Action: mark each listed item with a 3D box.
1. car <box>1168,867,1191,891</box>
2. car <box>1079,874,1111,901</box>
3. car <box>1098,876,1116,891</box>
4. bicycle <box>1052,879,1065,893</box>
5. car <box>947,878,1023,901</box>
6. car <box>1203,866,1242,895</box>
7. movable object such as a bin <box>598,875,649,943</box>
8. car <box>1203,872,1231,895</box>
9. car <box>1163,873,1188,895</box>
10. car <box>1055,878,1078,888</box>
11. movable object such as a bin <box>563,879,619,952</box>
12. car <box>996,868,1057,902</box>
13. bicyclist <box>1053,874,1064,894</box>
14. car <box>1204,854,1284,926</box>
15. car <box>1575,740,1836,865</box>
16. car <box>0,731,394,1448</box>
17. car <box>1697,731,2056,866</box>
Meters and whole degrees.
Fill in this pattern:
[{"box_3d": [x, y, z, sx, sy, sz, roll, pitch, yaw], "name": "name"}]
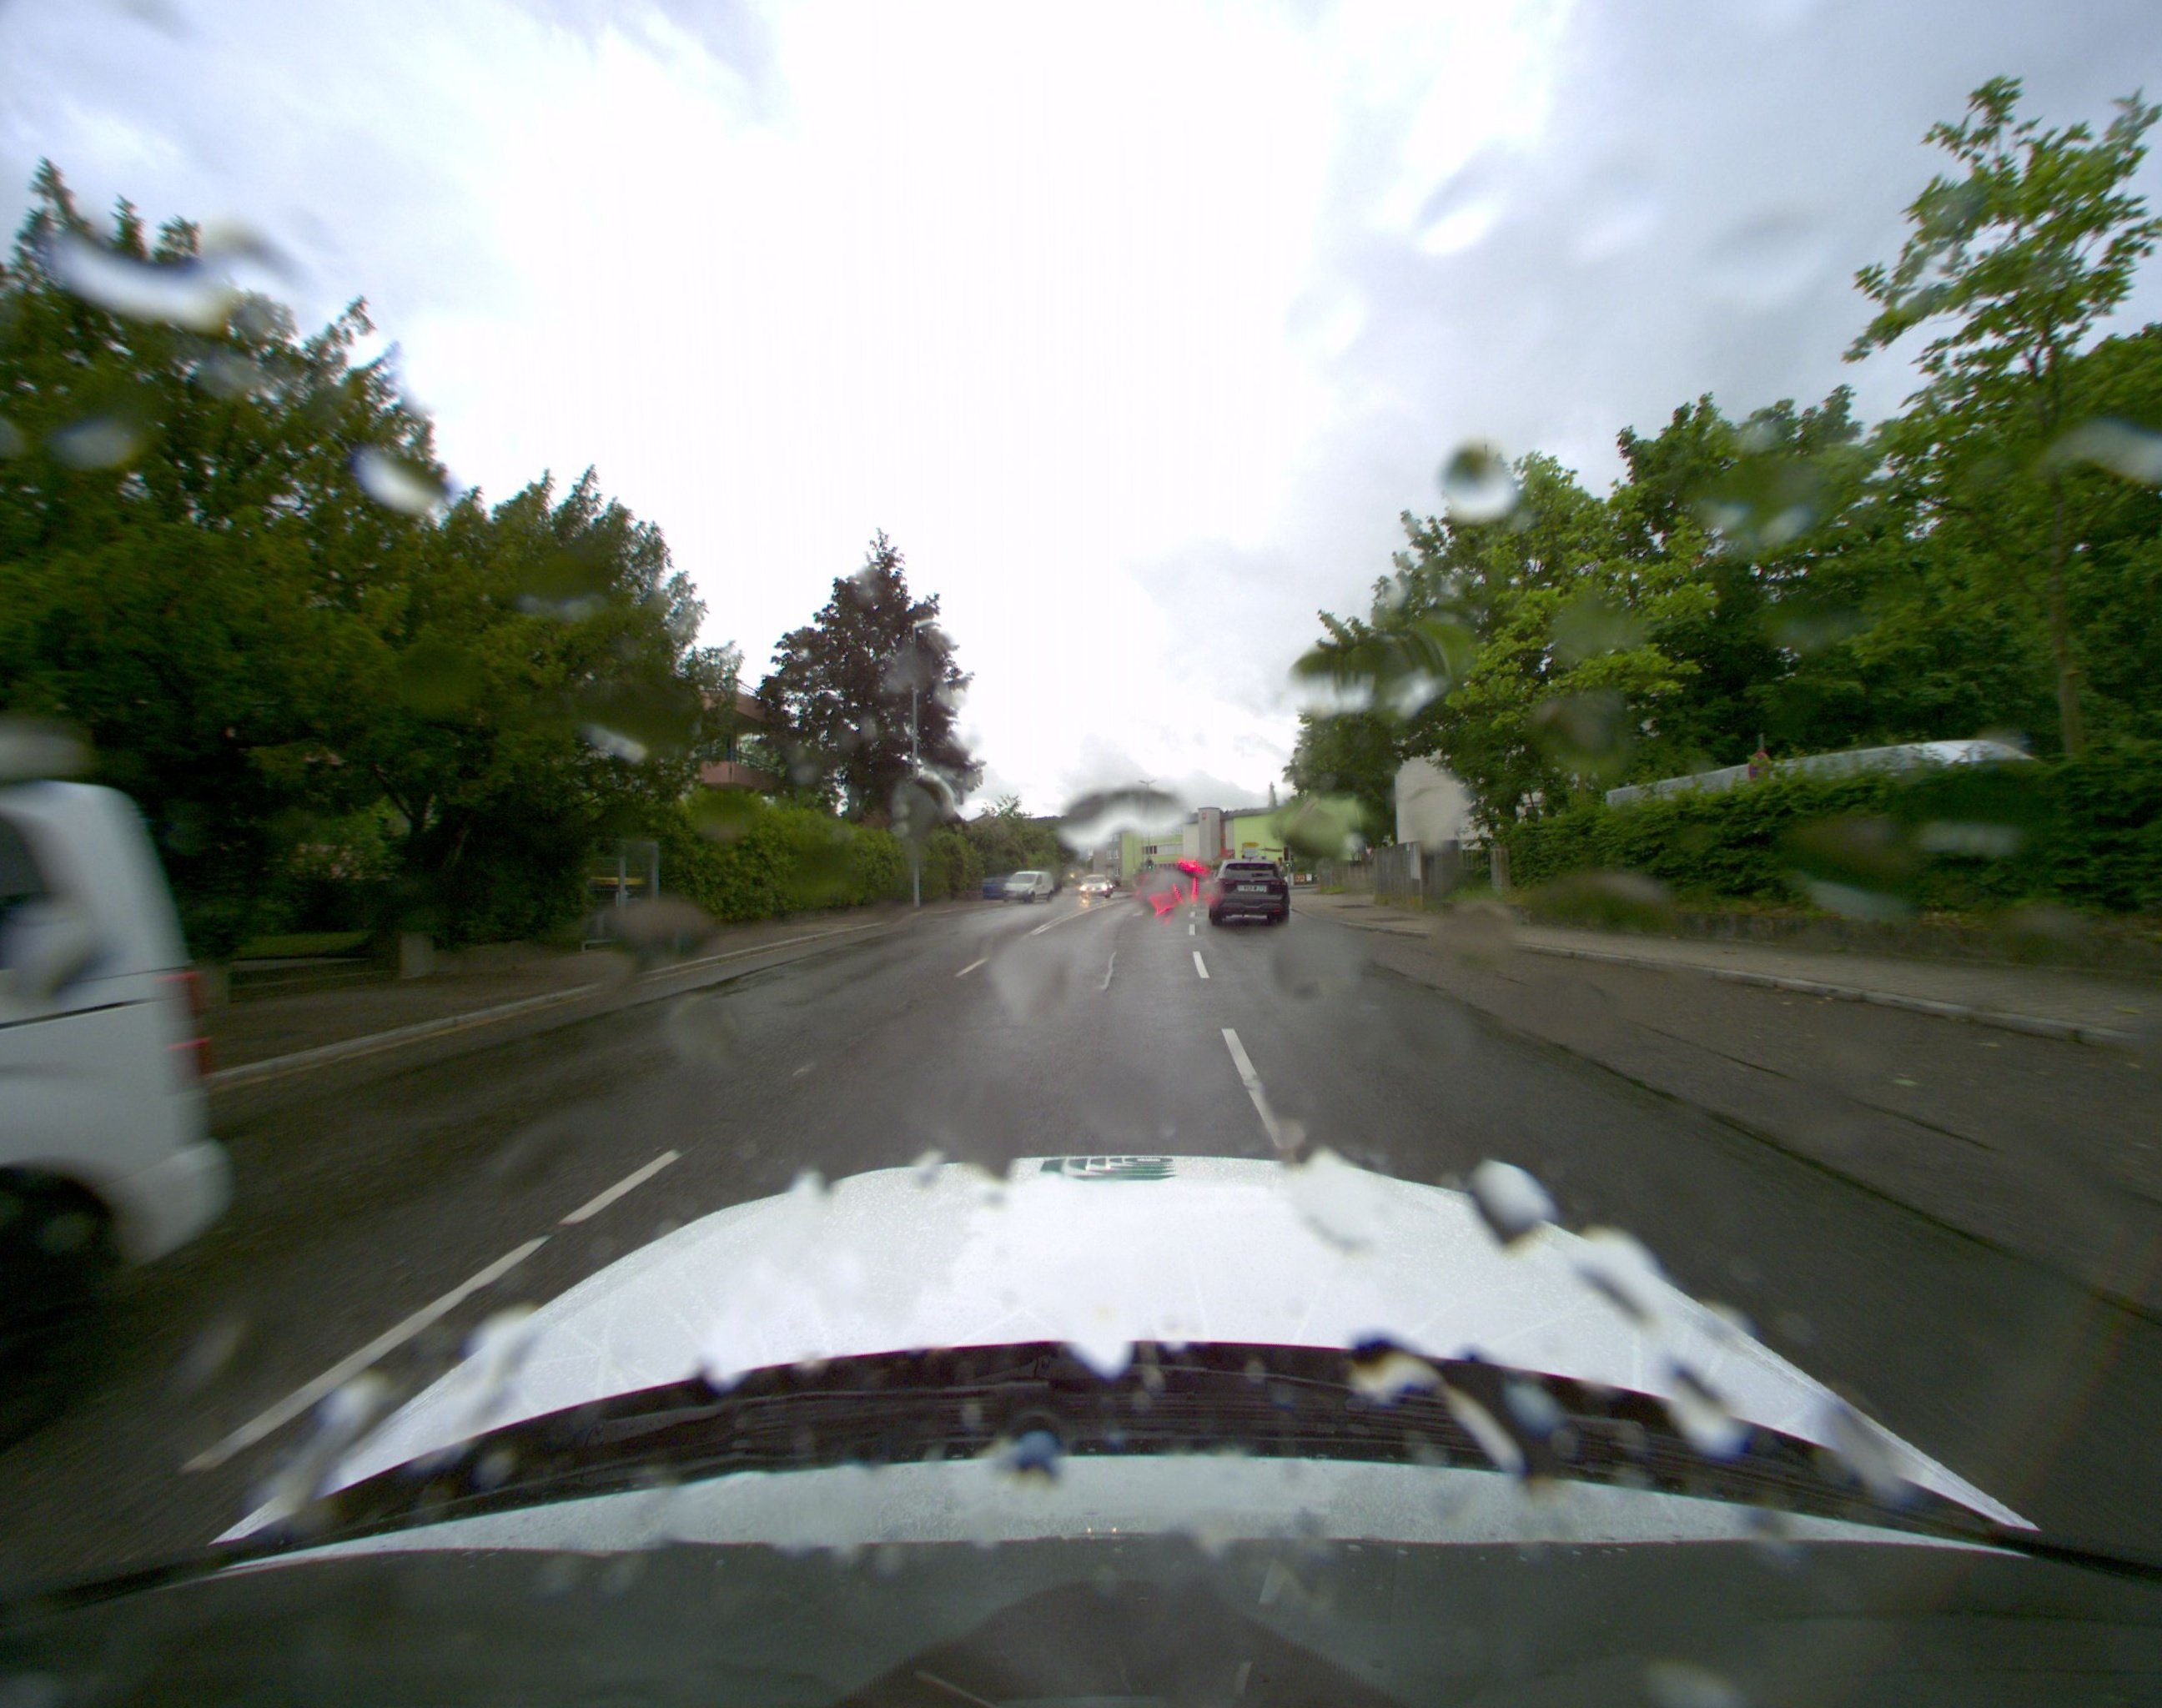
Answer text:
[{"box_3d": [8.159, 2.067, 67.173, 1.707, 1.844, 4.096, -1, -1, 9], "name": "car"}, {"box_3d": [0.934, 2.184, 53.813, 1.626, 1.580, 4.064, -5, -2, 6], "name": "car"}, {"box_3d": [3.312, 3.747, 103.412, 2.032, 1.716, 4.486, -3, -2, 4], "name": "car"}, {"box_3d": [-1.784, 2.578, 66.058, 0.743, 1.086, 1.993, -1, -3, 7], "name": "bicycle"}, {"box_3d": [-5.928, 2.180, 50.675, 4.465, 1.362, 1.806, 0, -1, 1], "name": "car"}, {"box_3d": [7.792, 1.464, 45.130, 1.894, 1.459, 4.788, -2, -2, 8], "name": "car"}, {"box_3d": [-9.286, 1.108, 16.534, 0.545, 1.326, 0.807, 0, 0, 3], "name": "movable object such as a bin"}, {"box_3d": [9.117, 1.956, 54.220, 1.696, 1.427, 4.521, -2, -2, 10], "name": "car"}, {"box_3d": [6.870, 2.170, 58.867, 1.673, 1.506, 3.781, -1, -1, 7], "name": "car"}, {"box_3d": [-2.877, 5.830, 165.414, 4.394, 1.772, 1.993, -4, -3, -9], "name": "car"}, {"box_3d": [-9.299, 1.148, 15.480, 0.545, 1.326, 0.807, 0, 0, 3], "name": "movable object such as a bin"}, {"box_3d": [-2.890, 1.671, 44.366, 1.686, 1.708, 3.999, 1, -1, 22], "name": "car"}, {"box_3d": [-1.790, 2.407, 66.142, 0.760, 1.612, 0.870, -1, -3, 7], "name": "bicyclist"}, {"box_3d": [4.081, 0.837, 20.765, 1.779, 1.603, 4.264, -1, -1, 9], "name": "car"}, {"box_3d": [12.418, -0.989, 16.614, 1.990, 2.226, 4.128, -1, 2, -4], "name": "car"}, {"box_3d": [-3.901, 0.676, 0.850, 1.856, 1.916, 5.032, -3, 0, 2], "name": "car"}, {"box_3d": [15.533, -1.018, 16.443, 2.042, 2.284, 5.007, 0, 2, -7], "name": "car"}]
